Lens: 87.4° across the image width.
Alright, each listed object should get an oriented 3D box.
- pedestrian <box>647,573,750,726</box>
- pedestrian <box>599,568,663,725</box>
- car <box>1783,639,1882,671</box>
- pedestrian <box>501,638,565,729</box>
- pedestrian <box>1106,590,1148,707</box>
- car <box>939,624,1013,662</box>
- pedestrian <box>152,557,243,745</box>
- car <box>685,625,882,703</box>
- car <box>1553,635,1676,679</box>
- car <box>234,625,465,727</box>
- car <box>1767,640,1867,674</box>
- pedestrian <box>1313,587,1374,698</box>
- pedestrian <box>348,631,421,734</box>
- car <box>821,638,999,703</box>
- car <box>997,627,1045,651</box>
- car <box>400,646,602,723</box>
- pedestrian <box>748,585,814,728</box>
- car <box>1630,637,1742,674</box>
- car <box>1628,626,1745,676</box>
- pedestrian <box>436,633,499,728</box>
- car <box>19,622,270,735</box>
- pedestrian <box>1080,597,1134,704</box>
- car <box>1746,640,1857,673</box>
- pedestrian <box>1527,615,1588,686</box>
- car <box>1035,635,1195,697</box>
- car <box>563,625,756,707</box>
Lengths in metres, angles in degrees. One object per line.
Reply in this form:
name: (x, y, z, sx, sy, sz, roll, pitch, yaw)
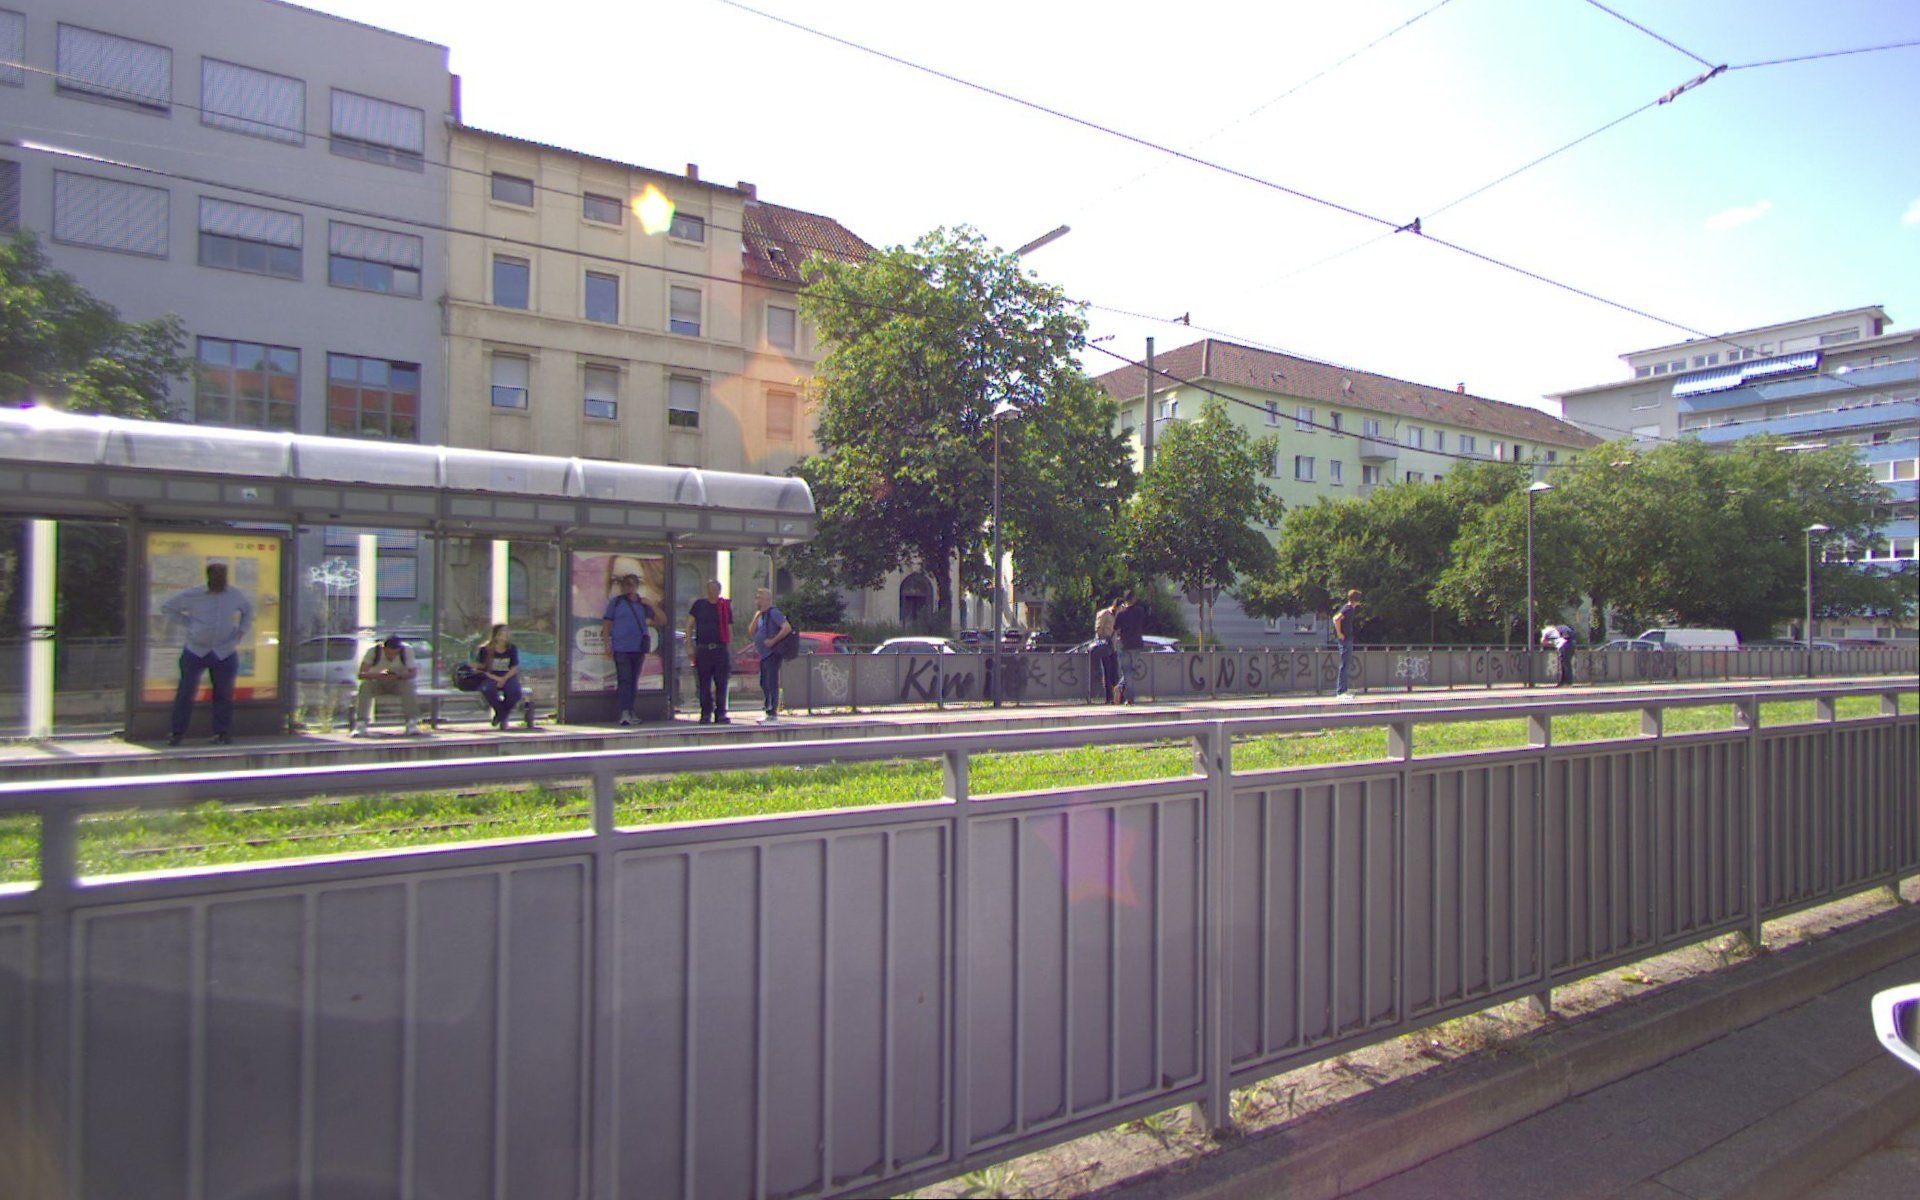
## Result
pedestrian: (-3.146, 0.590, 12.100, 1.025, 1.765, 0.628, 2, -2, -33)
pedestrian: (-3.993, 0.559, 12.208, 0.617, 1.851, 0.440, 2, -2, -33)
car: (45.517, 2.853, 52.497, 3.601, 1.600, 1.646, -1, -2, 29)
pedestrian: (-4.951, 0.957, 11.627, 0.556, 1.008, 0.700, 2, -3, -33)
pedestrian: (2.606, 0.743, 15.643, 0.612, 1.777, 0.609, 1, -2, 10)
car: (0.728, 2.103, 48.550, 1.802, 1.755, 3.970, 2, -3, -29)
pedestrian: (-7.341, 0.486, 9.698, 0.617, 1.748, 0.483, 2, -1, -33)
car: (-4.016, 1.423, 22.997, 4.055, 1.661, 1.835, 0, -3, 21)
car: (26.611, 2.293, 40.970, 3.923, 1.662, 1.826, 0, 0, 23)
car: (-11.258, 1.323, 18.529, 3.923, 1.549, 1.672, 2, 0, 24)
car: (43.499, 2.880, 51.083, 3.601, 1.600, 1.646, -1, -2, 29)
pedestrian: (6.795, 0.758, 17.821, 0.631, 1.916, 0.747, 4, -2, -28)
pedestrian: (-6.130, 0.868, 10.688, 0.617, 1.044, 0.715, 2, -4, -33)
car: (-1.191, 1.664, 24.470, 3.944, 1.410, 1.816, 0, -1, 20)
car: (3.640, 2.304, 59.463, 1.549, 1.340, 3.998, -1, -2, 24)
car: (-9.280, 1.639, 20.263, 3.929, 1.165, 1.789, 2, 0, 31)
pedestrian: (-2.158, 0.669, 12.111, 0.555, 1.654, 0.590, 1, -2, -44)
car: (33.014, 2.490, 45.810, 3.879, 1.600, 1.717, -1, -2, 28)
car: (31.526, 2.172, 43.750, 3.880, 2.097, 2.047, -1, -2, 29)
pedestrian: (-5.625, 0.908, 11.464, 0.556, 1.044, 0.650, 2, -3, -33)
car: (-13.664, 1.224, 16.816, 3.924, 1.549, 1.671, 2, 0, 24)
pedestrian: (2.403, 0.823, 16.429, 0.618, 1.696, 0.604, 2, -2, -30)
car: (41.415, 2.750, 49.547, 3.957, 1.534, 1.606, -1, -2, 30)
pedestrian: (13.867, 1.169, 23.323, 0.790, 1.599, 0.983, 2, -2, -33)
car: (4.298, 1.792, 27.703, 4.071, 1.585, 1.927, 0, -3, 19)
car: (-6.447, 1.349, 21.487, 3.926, 1.589, 1.608, 0, -1, 26)
